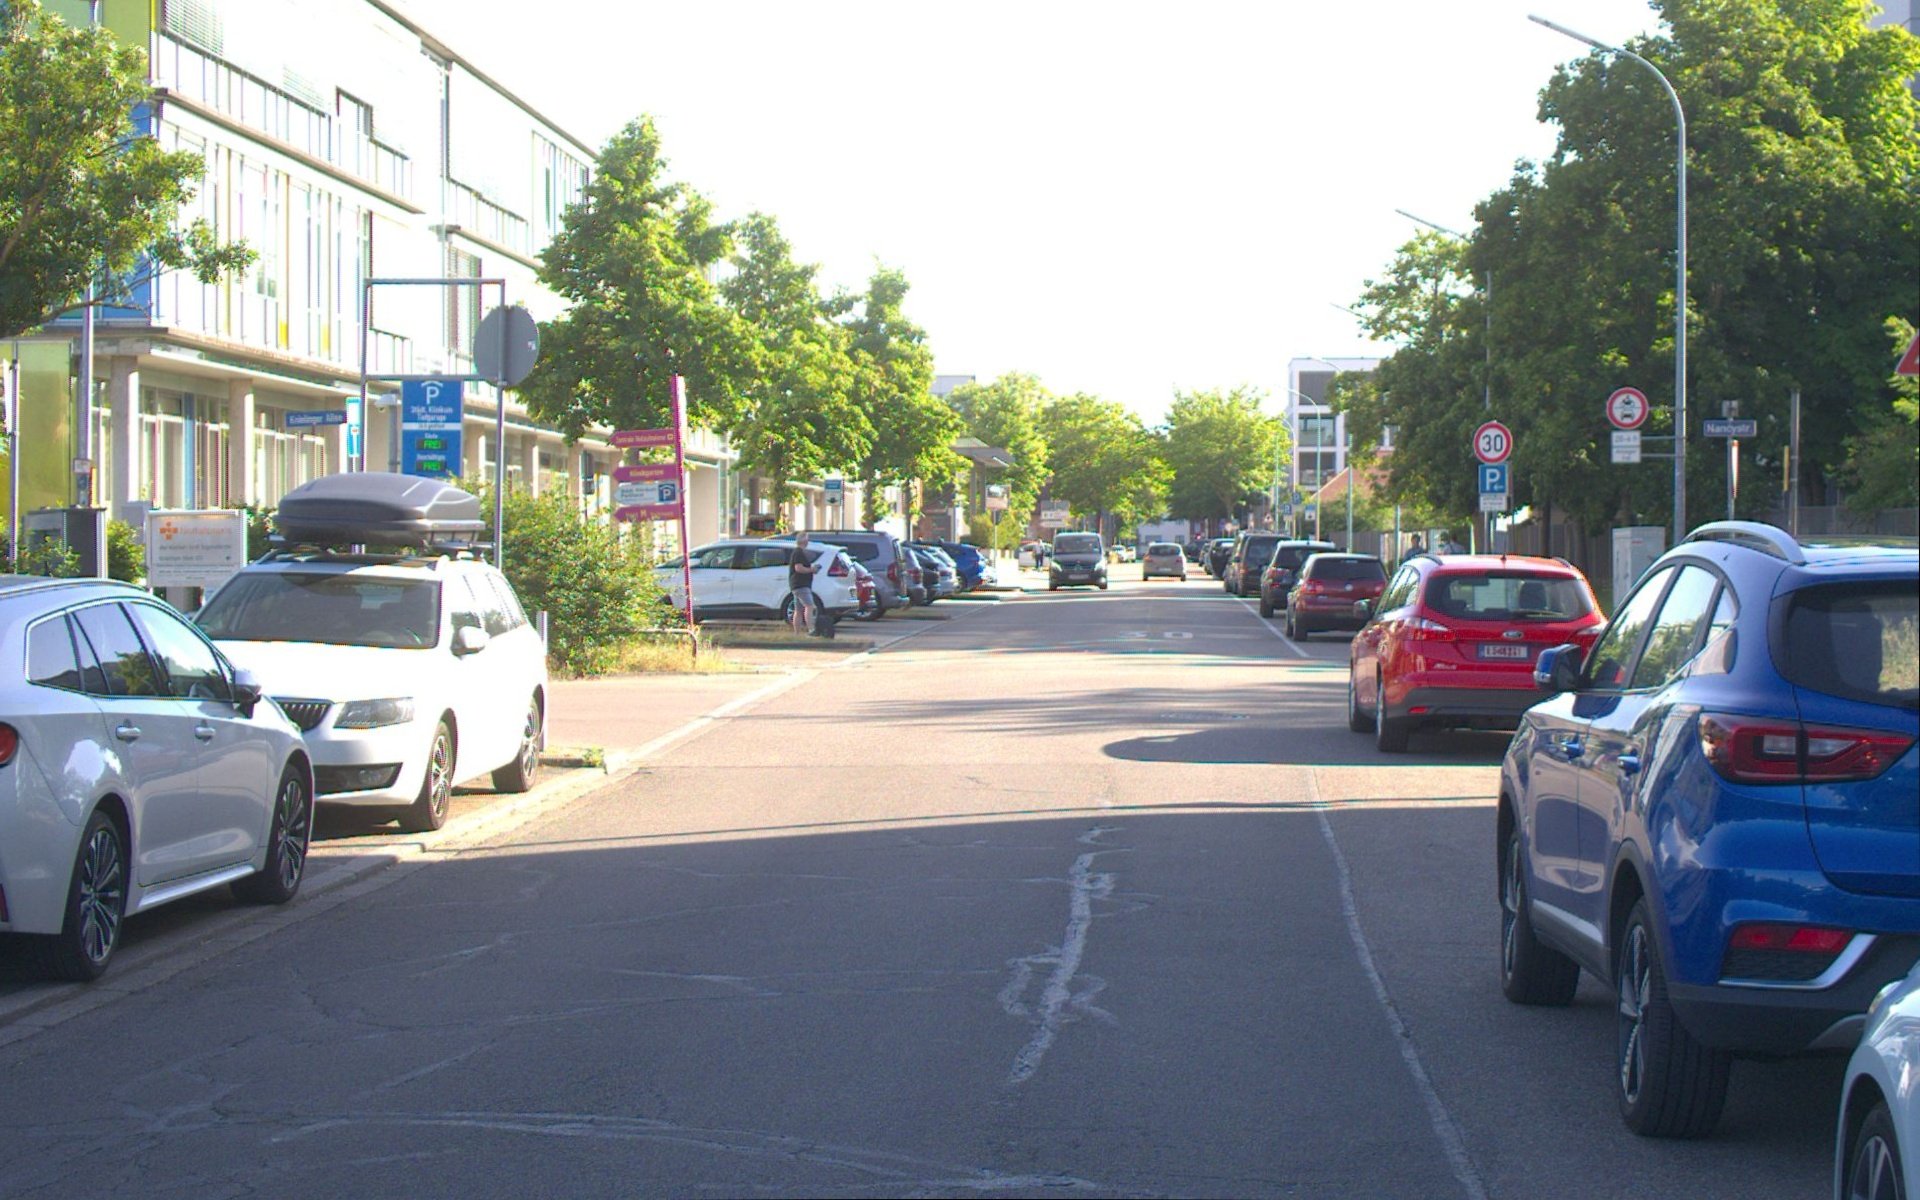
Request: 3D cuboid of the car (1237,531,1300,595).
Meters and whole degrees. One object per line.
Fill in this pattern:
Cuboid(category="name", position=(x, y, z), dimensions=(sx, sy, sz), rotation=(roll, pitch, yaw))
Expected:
Cuboid(category="car", position=(8.944, -1.080, 99.986), dimensions=(1.733, 1.824, 3.905), rotation=(0, 1, 4))

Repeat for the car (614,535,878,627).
Cuboid(category="car", position=(-3.938, -0.365, 63.642), dimensions=(4.613, 1.645, 1.867), rotation=(0, 1, 7))

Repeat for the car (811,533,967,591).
Cuboid(category="car", position=(-1.941, -1.057, 94.635), dimensions=(4.214, 1.457, 1.872), rotation=(2, 1, 0))

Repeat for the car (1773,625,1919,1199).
Cuboid(category="car", position=(2.251, 0.824, 4.118), dimensions=(1.745, 1.424, 4.585), rotation=(2, 1, 4))

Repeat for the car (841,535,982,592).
Cuboid(category="car", position=(-1.465, -1.124, 104.603), dimensions=(4.214, 1.597, 1.872), rotation=(2, 1, 0))

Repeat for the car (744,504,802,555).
Cuboid(category="car", position=(-7.811, -2.947, 143.885), dimensions=(1.994, 2.007, 3.999), rotation=(0, 0, 3))

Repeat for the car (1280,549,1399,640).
Cuboid(category="car", position=(6.487, -0.128, 59.070), dimensions=(1.720, 1.450, 4.652), rotation=(1, 1, 3))

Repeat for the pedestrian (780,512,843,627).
Cuboid(category="pedestrian", position=(-2.420, -0.502, 56.162), dimensions=(0.858, 1.836, 0.825), rotation=(2, 1, 5))

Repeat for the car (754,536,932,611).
Cuboid(category="car", position=(-2.664, -0.619, 78.884), dimensions=(3.987, 1.601, 1.872), rotation=(2, 1, 0))

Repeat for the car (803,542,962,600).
Cuboid(category="car", position=(-1.964, -0.736, 87.672), dimensions=(3.987, 1.354, 1.743), rotation=(2, 1, 0))

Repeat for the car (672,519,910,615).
Cuboid(category="car", position=(-3.508, -0.704, 71.931), dimensions=(4.743, 1.858, 1.827), rotation=(2, 1, 4))

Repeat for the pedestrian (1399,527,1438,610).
Cuboid(category="pedestrian", position=(9.931, -0.681, 74.444), dimensions=(0.718, 1.752, 0.884), rotation=(-2, 1, 4))

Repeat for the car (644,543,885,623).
Cuboid(category="car", position=(-3.738, -0.336, 66.290), dimensions=(4.434, 1.496, 1.827), rotation=(0, 1, 4))

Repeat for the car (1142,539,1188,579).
Cuboid(category="car", position=(8.027, -1.608, 134.662), dimensions=(1.744, 1.538, 4.000), rotation=(1, 1, 3))

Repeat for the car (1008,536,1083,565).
Cuboid(category="car", position=(4.696, -2.708, 187.990), dimensions=(3.987, 1.514, 2.000), rotation=(0, 0, 4))

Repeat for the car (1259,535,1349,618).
Cuboid(category="car", position=(7.486, -0.546, 75.074), dimensions=(1.812, 1.660, 4.592), rotation=(1, 2, 4))

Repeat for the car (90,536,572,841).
Cuboid(category="car", position=(-3.509, 0.420, 20.008), dimensions=(1.696, 1.508, 4.517), rotation=(2, 1, 3))

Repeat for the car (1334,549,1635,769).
Cuboid(category="car", position=(3.982, 0.386, 26.760), dimensions=(1.819, 1.494, 4.452), rotation=(2, 1, 3))

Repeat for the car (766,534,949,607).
Cuboid(category="car", position=(-2.414, -0.705, 81.828), dimensions=(4.246, 1.606, 2.048), rotation=(2, 1, 0))

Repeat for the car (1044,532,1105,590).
Cuboid(category="car", position=(3.836, -1.314, 114.229), dimensions=(1.955, 1.861, 5.255), rotation=(0, 1, 3))

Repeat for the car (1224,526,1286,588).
Cuboid(category="car", position=(9.633, -1.421, 112.452), dimensions=(1.875, 1.971, 4.000), rotation=(-1, 1, 3))

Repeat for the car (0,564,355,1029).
Cuboid(category="car", position=(-3.830, 0.621, 13.634), dimensions=(1.747, 1.441, 4.541), rotation=(2, 1, 4))

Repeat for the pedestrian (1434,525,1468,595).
Cuboid(category="pedestrian", position=(11.869, -0.974, 83.123), dimensions=(0.698, 1.655, 0.752), rotation=(-3, 1, 3))

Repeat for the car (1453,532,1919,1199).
Cuboid(category="car", position=(2.662, 0.627, 10.405), dimensions=(1.817, 1.594, 4.627), rotation=(2, 1, 2))
